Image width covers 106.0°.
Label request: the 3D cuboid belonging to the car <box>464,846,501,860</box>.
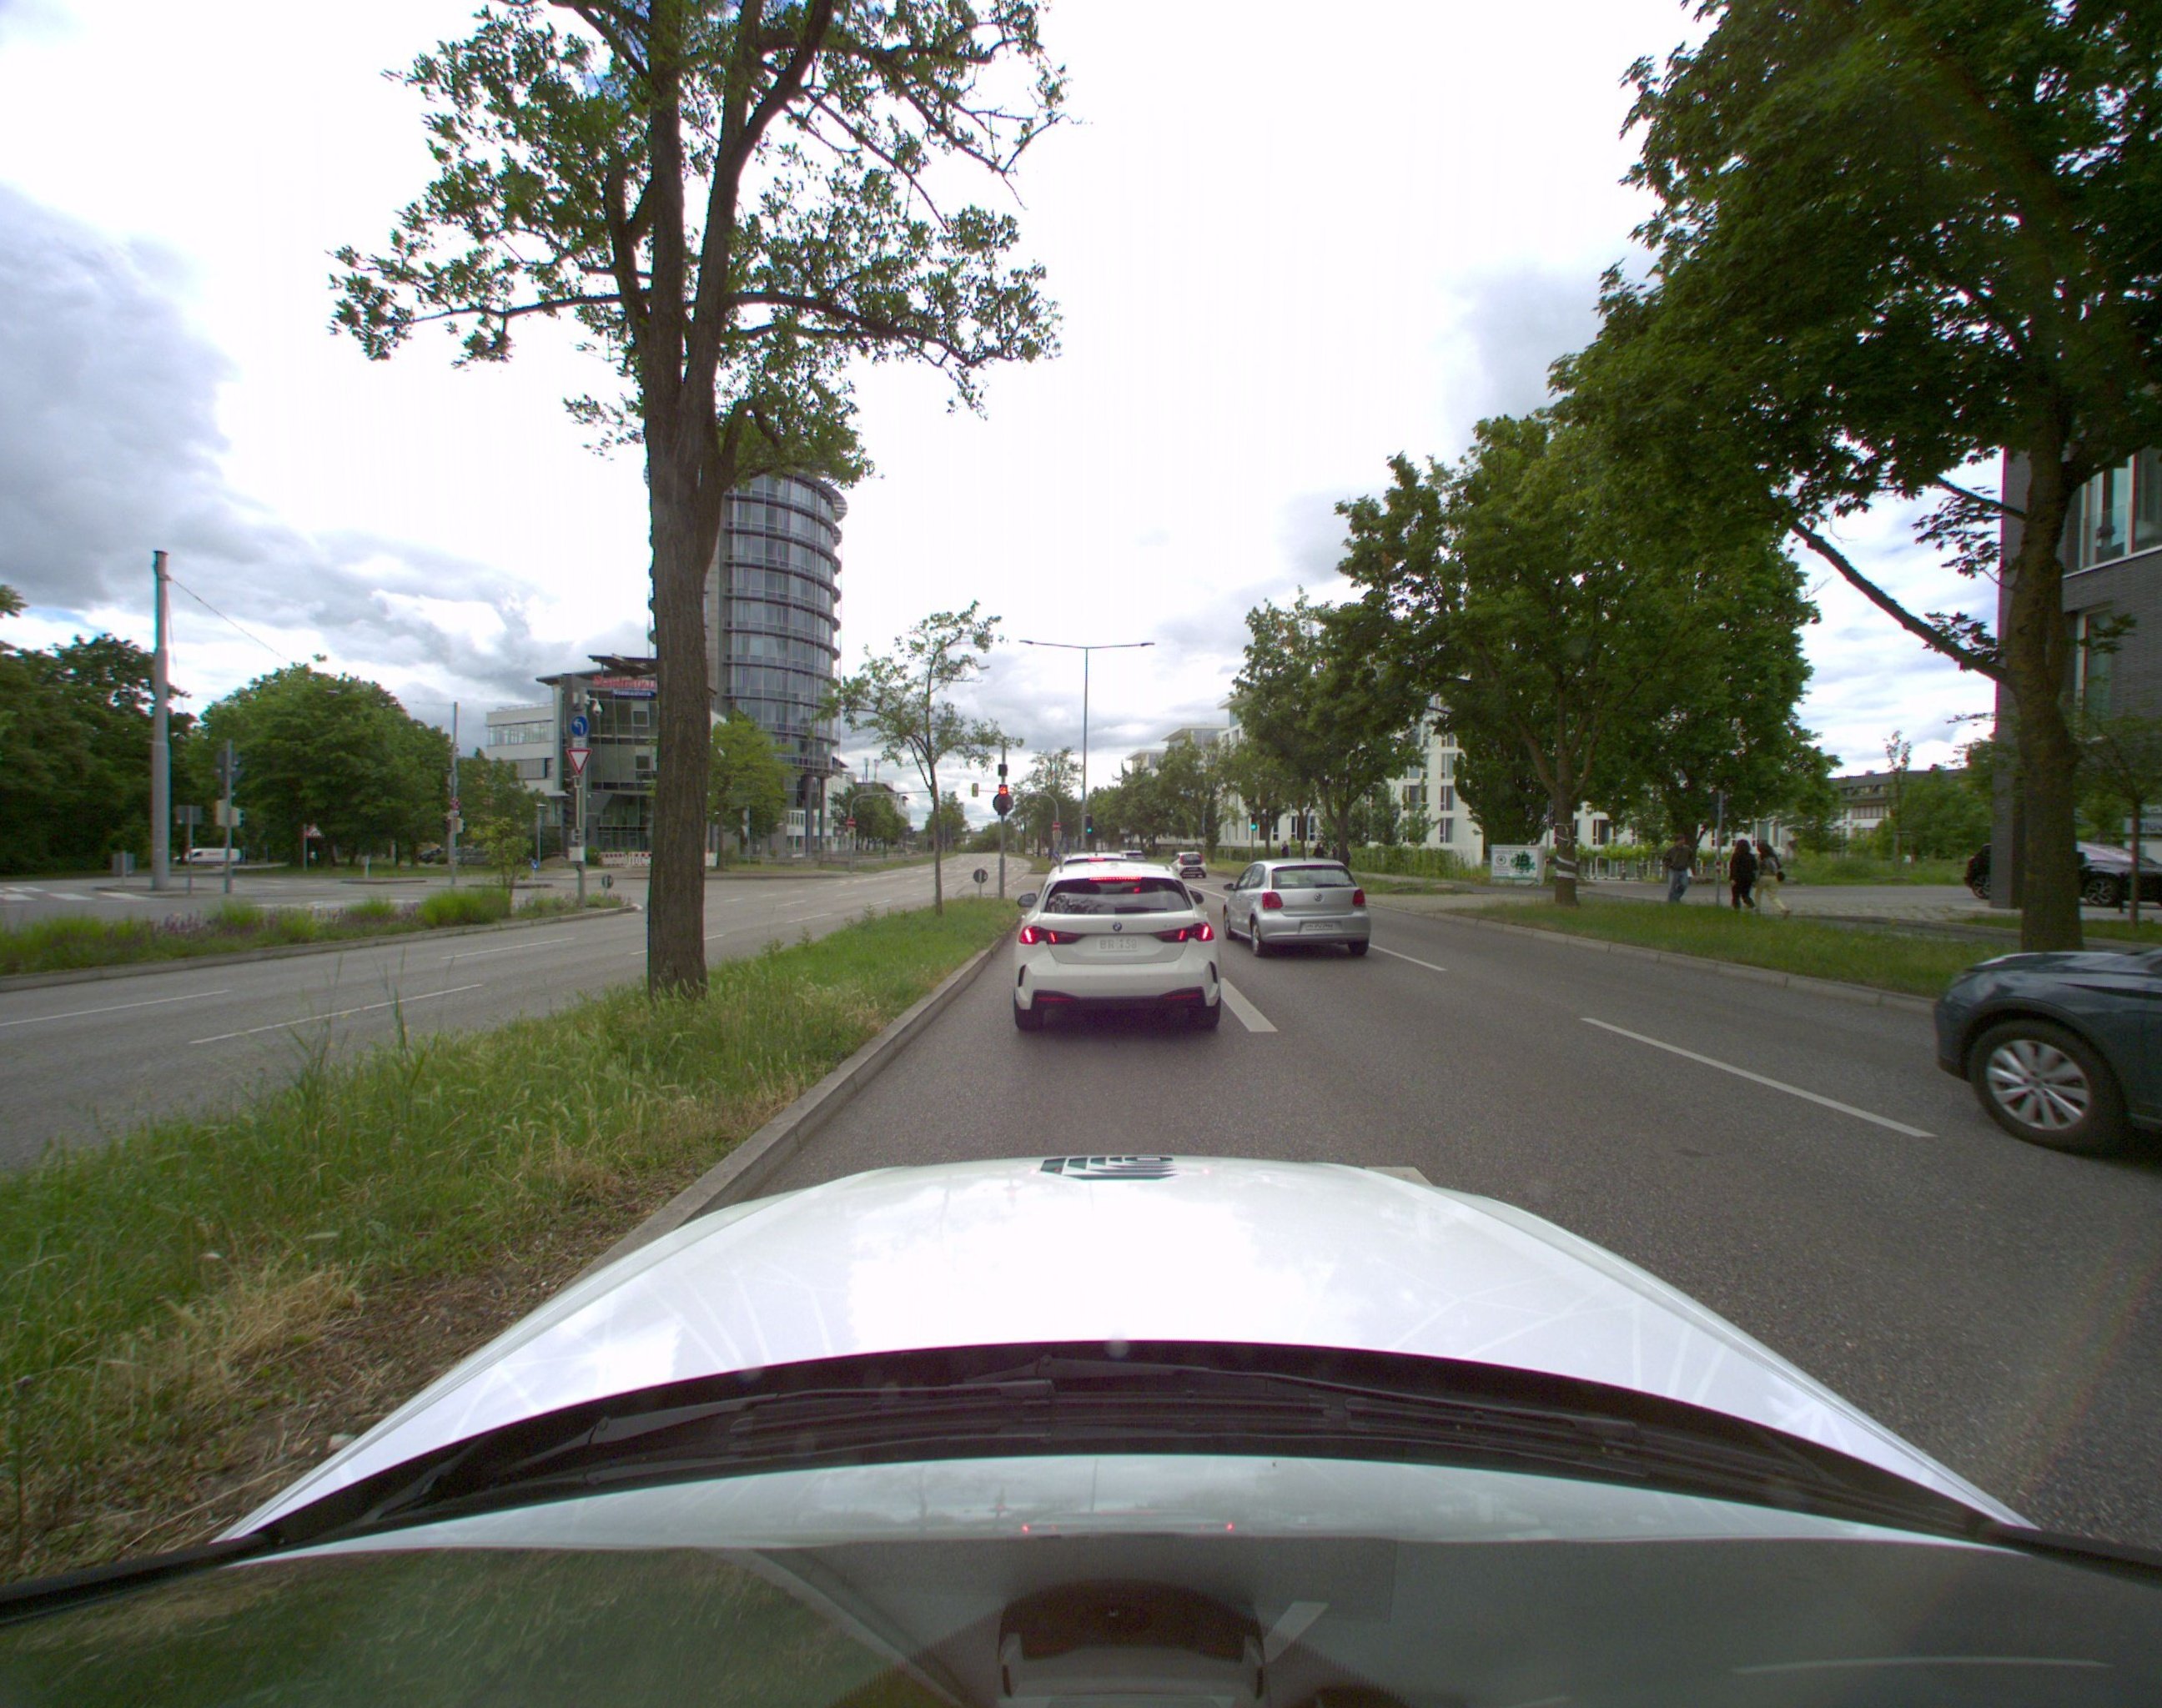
[{"bbox_3d":[-37.363,-0.062,50.878,0.766,0.876,1.730,0,0,38],"label":"car"}]

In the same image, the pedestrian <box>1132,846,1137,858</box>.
[{"bbox_3d":[8.977,-0.295,136.831,0.763,2.014,0.751,0,-1,-13],"label":"pedestrian"}]

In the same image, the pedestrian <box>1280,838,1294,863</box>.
[{"bbox_3d":[13.260,-0.205,52.449,0.739,1.574,0.674,0,-1,0],"label":"pedestrian"}]

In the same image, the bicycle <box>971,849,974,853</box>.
[{"bbox_3d":[-31.383,-0.808,235.416,0.810,1.104,2.549,0,-1,-8],"label":"bicycle"}]

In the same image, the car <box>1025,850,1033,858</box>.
[{"bbox_3d":[-11.972,-0.011,186.364,1.692,1.717,3.993,0,-1,-4],"label":"car"}]

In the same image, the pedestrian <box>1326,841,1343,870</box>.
[{"bbox_3d":[14.167,0.082,45.555,0.697,1.595,0.883,0,-1,1],"label":"pedestrian"}]

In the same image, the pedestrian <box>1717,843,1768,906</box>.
[{"bbox_3d":[16.748,0.498,20.621,0.880,1.557,0.825,0,0,-38],"label":"pedestrian"}]

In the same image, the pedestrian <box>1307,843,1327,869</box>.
[{"bbox_3d":[13.287,0.091,45.912,0.786,1.448,1.112,0,-1,1],"label":"pedestrian"}]

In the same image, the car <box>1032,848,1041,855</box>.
[{"bbox_3d":[-11.599,-0.609,211.673,1.992,1.732,3.990,0,-1,-7],"label":"car"}]

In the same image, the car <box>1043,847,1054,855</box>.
[{"bbox_3d":[-6.490,-0.578,163.218,1.991,1.670,3.992,-2,0,-5],"label":"car"}]

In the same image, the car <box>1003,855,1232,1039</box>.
[{"bbox_3d":[0.352,0.739,8.450,1.815,1.438,4.002,0,0,2],"label":"car"}]

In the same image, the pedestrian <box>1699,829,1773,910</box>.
[{"bbox_3d":[13.779,0.317,17.171,0.791,1.660,1.061,0,0,7],"label":"pedestrian"}]

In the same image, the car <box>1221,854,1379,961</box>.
[{"bbox_3d":[3.325,0.733,13.031,1.600,1.468,3.675,0,0,1],"label":"car"}]

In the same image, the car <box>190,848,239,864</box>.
[{"bbox_3d":[-128.877,0.258,121.182,1.978,2.339,4.570,-1,-1,16],"label":"car"}]

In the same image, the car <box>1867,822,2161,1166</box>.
[{"bbox_3d":[5.570,0.604,2.927,1.651,1.512,4.000,0,-1,0],"label":"car"}]

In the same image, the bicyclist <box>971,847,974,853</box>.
[{"bbox_3d":[-31.395,-1.203,235.490,0.810,1.653,1.185,0,-1,-8],"label":"bicyclist"}]

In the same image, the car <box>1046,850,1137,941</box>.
[{"bbox_3d":[0.245,0.711,15.977,1.544,1.569,4.002,0,0,2],"label":"car"}]

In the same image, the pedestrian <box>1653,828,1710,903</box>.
[{"bbox_3d":[15.439,0.294,20.956,0.983,1.868,0.952,0,0,-38],"label":"pedestrian"}]

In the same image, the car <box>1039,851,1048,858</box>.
[{"bbox_3d":[-8.626,0.097,187.734,1.690,1.486,3.685,0,0,-6],"label":"car"}]

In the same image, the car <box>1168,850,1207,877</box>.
[{"bbox_3d":[5.949,0.524,45.882,1.649,1.425,3.533,-1,0,-1],"label":"car"}]

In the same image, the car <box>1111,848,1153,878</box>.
[{"bbox_3d":[2.817,0.490,45.587,1.887,1.596,4.309,0,0,-3],"label":"car"}]

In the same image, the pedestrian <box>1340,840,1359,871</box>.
[{"bbox_3d":[15.042,0.076,45.638,0.764,1.685,0.883,0,-1,1],"label":"pedestrian"}]

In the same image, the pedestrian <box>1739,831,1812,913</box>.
[{"bbox_3d":[14.551,0.366,17.081,0.774,1.660,0.954,0,0,7],"label":"pedestrian"}]

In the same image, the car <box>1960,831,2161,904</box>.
[{"bbox_3d":[24.894,0.296,20.226,1.749,1.646,4.151,0,0,2],"label":"car"}]
